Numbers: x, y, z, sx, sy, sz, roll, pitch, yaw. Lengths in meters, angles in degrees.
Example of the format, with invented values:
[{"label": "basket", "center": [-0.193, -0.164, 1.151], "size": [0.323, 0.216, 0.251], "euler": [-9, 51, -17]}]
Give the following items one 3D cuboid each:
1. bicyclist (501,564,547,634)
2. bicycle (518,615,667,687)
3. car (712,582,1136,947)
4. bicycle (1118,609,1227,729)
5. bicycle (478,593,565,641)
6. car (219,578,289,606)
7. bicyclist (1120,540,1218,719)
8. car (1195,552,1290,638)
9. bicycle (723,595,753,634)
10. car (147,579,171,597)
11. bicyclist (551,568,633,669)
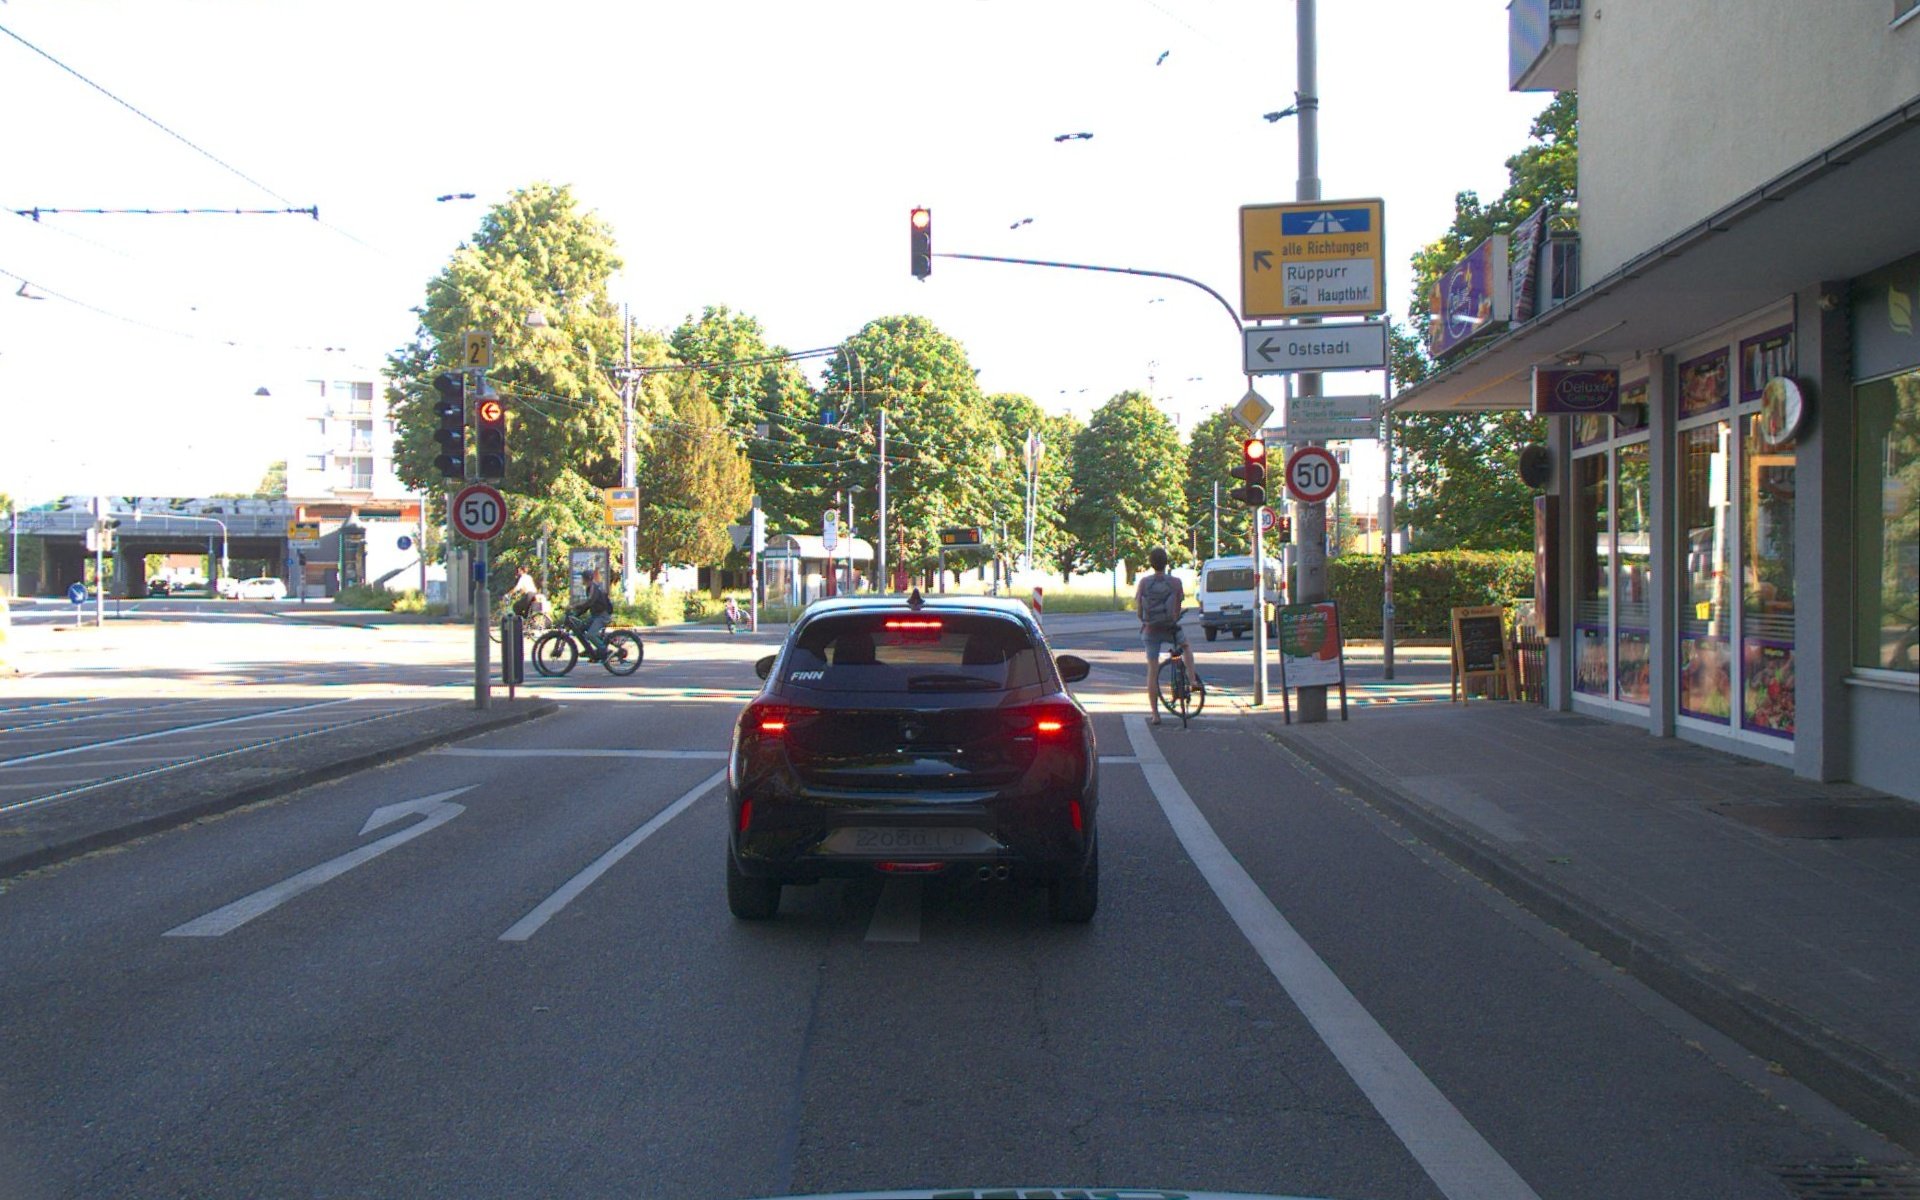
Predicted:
[{"label": "bicyclist", "center": [-10.351, -0.027, 39.287], "size": [0.843, 1.623, 0.649], "euler": [0, 0, 21]}, {"label": "bicycle", "center": [-5.726, 0.775, 25.796], "size": [2.162, 1.051, 0.828], "euler": [-1, 0, -24]}, {"label": "car", "center": [-0.163, 0.649, 8.740], "size": [1.692, 1.454, 4.186], "euler": [1, 0, -1]}, {"label": "bicycle", "center": [2.275, 0.709, 17.975], "size": [0.842, 1.173, 2.171], "euler": [-1, 1, -1]}, {"label": "bicycle", "center": [-10.418, 0.395, 39.293], "size": [2.012, 1.113, 0.592], "euler": [0, 0, 21]}, {"label": "car", "center": [-48.394, -0.556, 113.384], "size": [4.148, 1.836, 1.712], "euler": [-1, 1, -40]}, {"label": "bicyclist", "center": [2.253, 0.308, 17.909], "size": [0.922, 1.883, 0.864], "euler": [-1, 0, -1]}, {"label": "car", "center": [8.015, -0.156, 46.590], "size": [2.020, 2.288, 4.890], "euler": [0, 1, 17]}, {"label": "bicycle", "center": [-6.214, 0.383, 46.384], "size": [0.593, 1.049, 1.982], "euler": [0, 1, -1]}, {"label": "car", "center": [-82.891, -1.228, 171.208], "size": [2.186, 1.855, 4.112], "euler": [-1, 1, -26]}, {"label": "bicyclist", "center": [-5.749, 0.274, 25.788], "size": [1.098, 1.547, 0.915], "euler": [-1, 0, -24]}]
